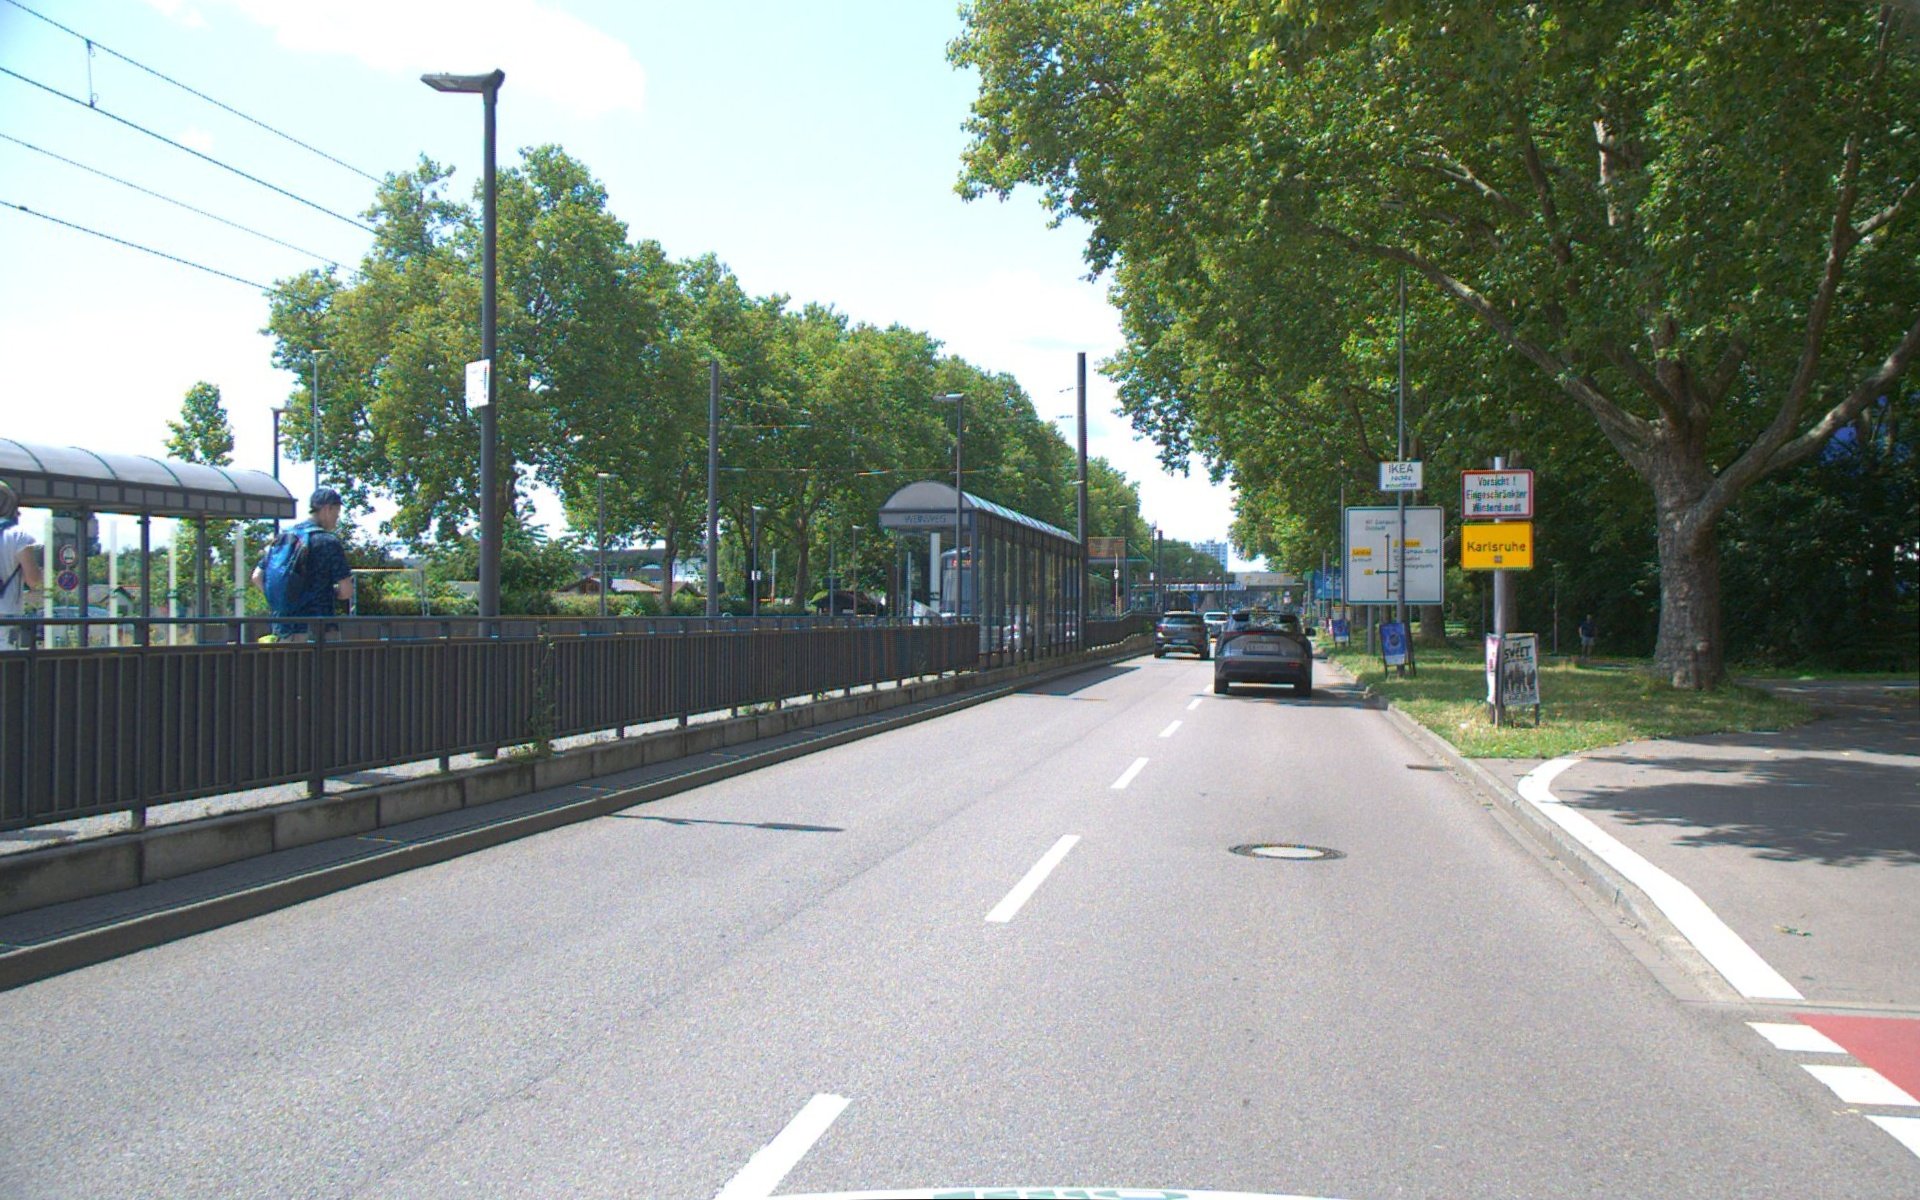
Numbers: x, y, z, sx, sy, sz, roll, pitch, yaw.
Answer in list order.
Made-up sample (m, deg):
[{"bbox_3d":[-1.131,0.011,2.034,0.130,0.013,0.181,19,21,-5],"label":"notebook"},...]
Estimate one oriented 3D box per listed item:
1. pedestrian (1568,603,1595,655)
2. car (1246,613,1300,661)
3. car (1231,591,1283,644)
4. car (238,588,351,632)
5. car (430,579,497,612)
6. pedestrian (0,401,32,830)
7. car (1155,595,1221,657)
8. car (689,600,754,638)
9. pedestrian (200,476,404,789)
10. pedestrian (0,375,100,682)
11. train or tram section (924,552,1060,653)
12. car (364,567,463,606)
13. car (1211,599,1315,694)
[{"bbox_3d":[25.564,1.186,68.036,0.818,2.049,0.957,2,0,9],"label":"pedestrian"},{"bbox_3d":[11.364,1.320,60.260,1.792,1.659,4.299,1,-1,9],"label":"car"},{"bbox_3d":[11.994,0.674,66.642,1.951,2.024,4.367,0,1,12],"label":"car"},{"bbox_3d":[-26.973,0.374,67.076,3.831,1.691,1.911,1,1,13],"label":"car"},{"bbox_3d":[-26.575,-0.286,88.687,1.863,1.691,3.932,1,1,10],"label":"car"},{"bbox_3d":[-4.883,0.071,7.372,0.854,1.973,0.995,1,1,11],"label":"pedestrian"},{"bbox_3d":[7.772,0.855,56.077,1.951,2.024,4.366,0,-1,11],"label":"car"},{"bbox_3d":[-10.786,0.844,75.091,1.672,1.612,4.004,1,1,11],"label":"car"},{"bbox_3d":[-3.935,0.181,9.954,0.718,1.786,0.930,1,0,12],"label":"pedestrian"},{"bbox_3d":[-6.025,-0.432,10.321,0.718,1.839,0.930,1,0,12],"label":"pedestrian"},{"bbox_3d":[1.442,0.125,60.228,2.972,3.242,14.112,0,0,9],"label":"train or tram section"},{"bbox_3d":[-24.648,-0.613,74.651,3.831,1.691,1.911,1,1,13],"label":"car"},{"bbox_3d":[5.931,0.877,32.506,1.857,1.704,4.523,1,-1,10],"label":"car"}]
